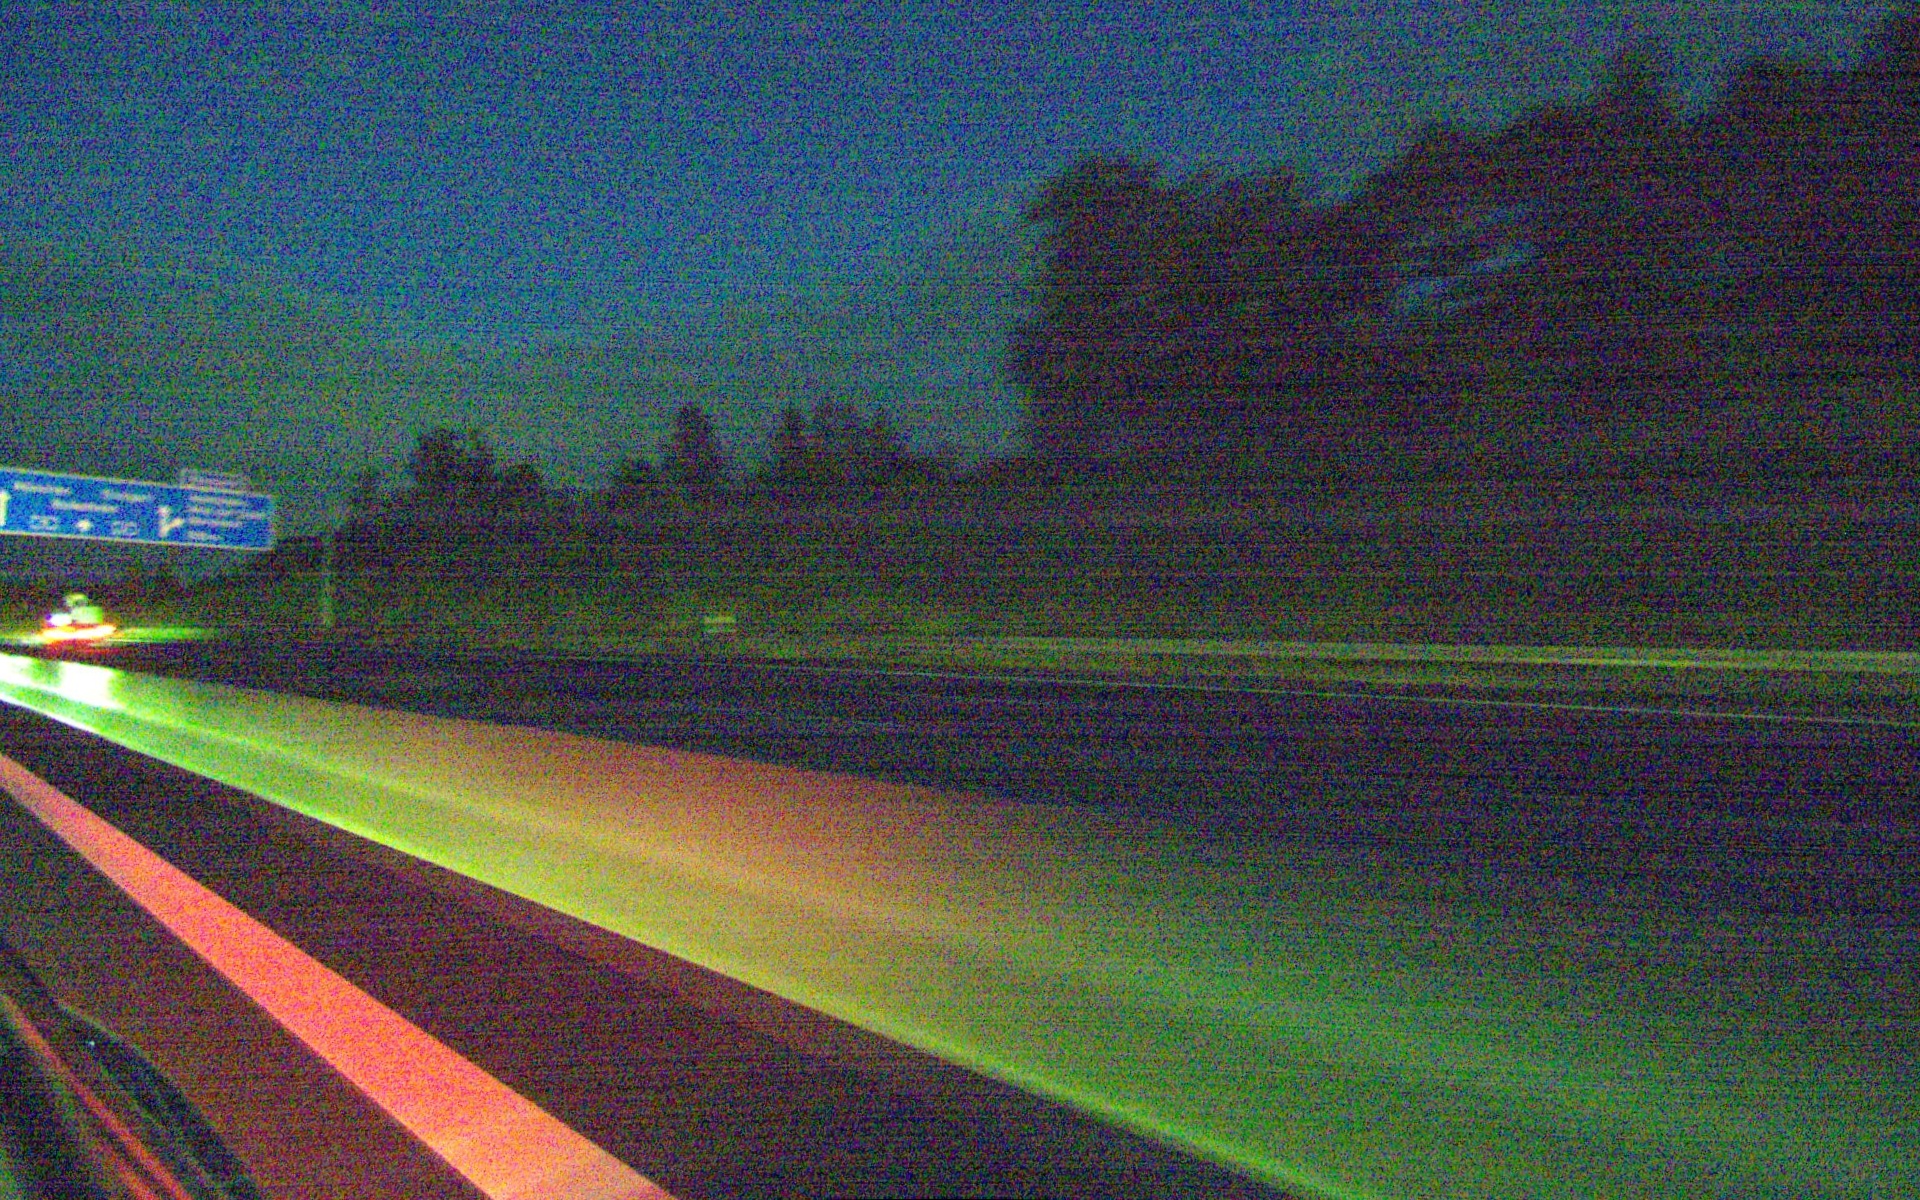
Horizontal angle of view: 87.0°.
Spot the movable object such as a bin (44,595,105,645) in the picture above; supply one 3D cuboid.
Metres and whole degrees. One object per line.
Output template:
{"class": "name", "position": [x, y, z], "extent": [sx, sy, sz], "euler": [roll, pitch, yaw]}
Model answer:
{"class": "movable object such as a bin", "position": [-63.878, 1.449, 72.967], "extent": [7.431, 3.443, 2.185], "euler": [-1, -1, 40]}

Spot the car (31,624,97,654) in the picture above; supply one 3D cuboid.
{"class": "car", "position": [-46.087, 1.986, 52.037], "extent": [4.449, 1.464, 1.914], "euler": [-2, -1, 40]}
